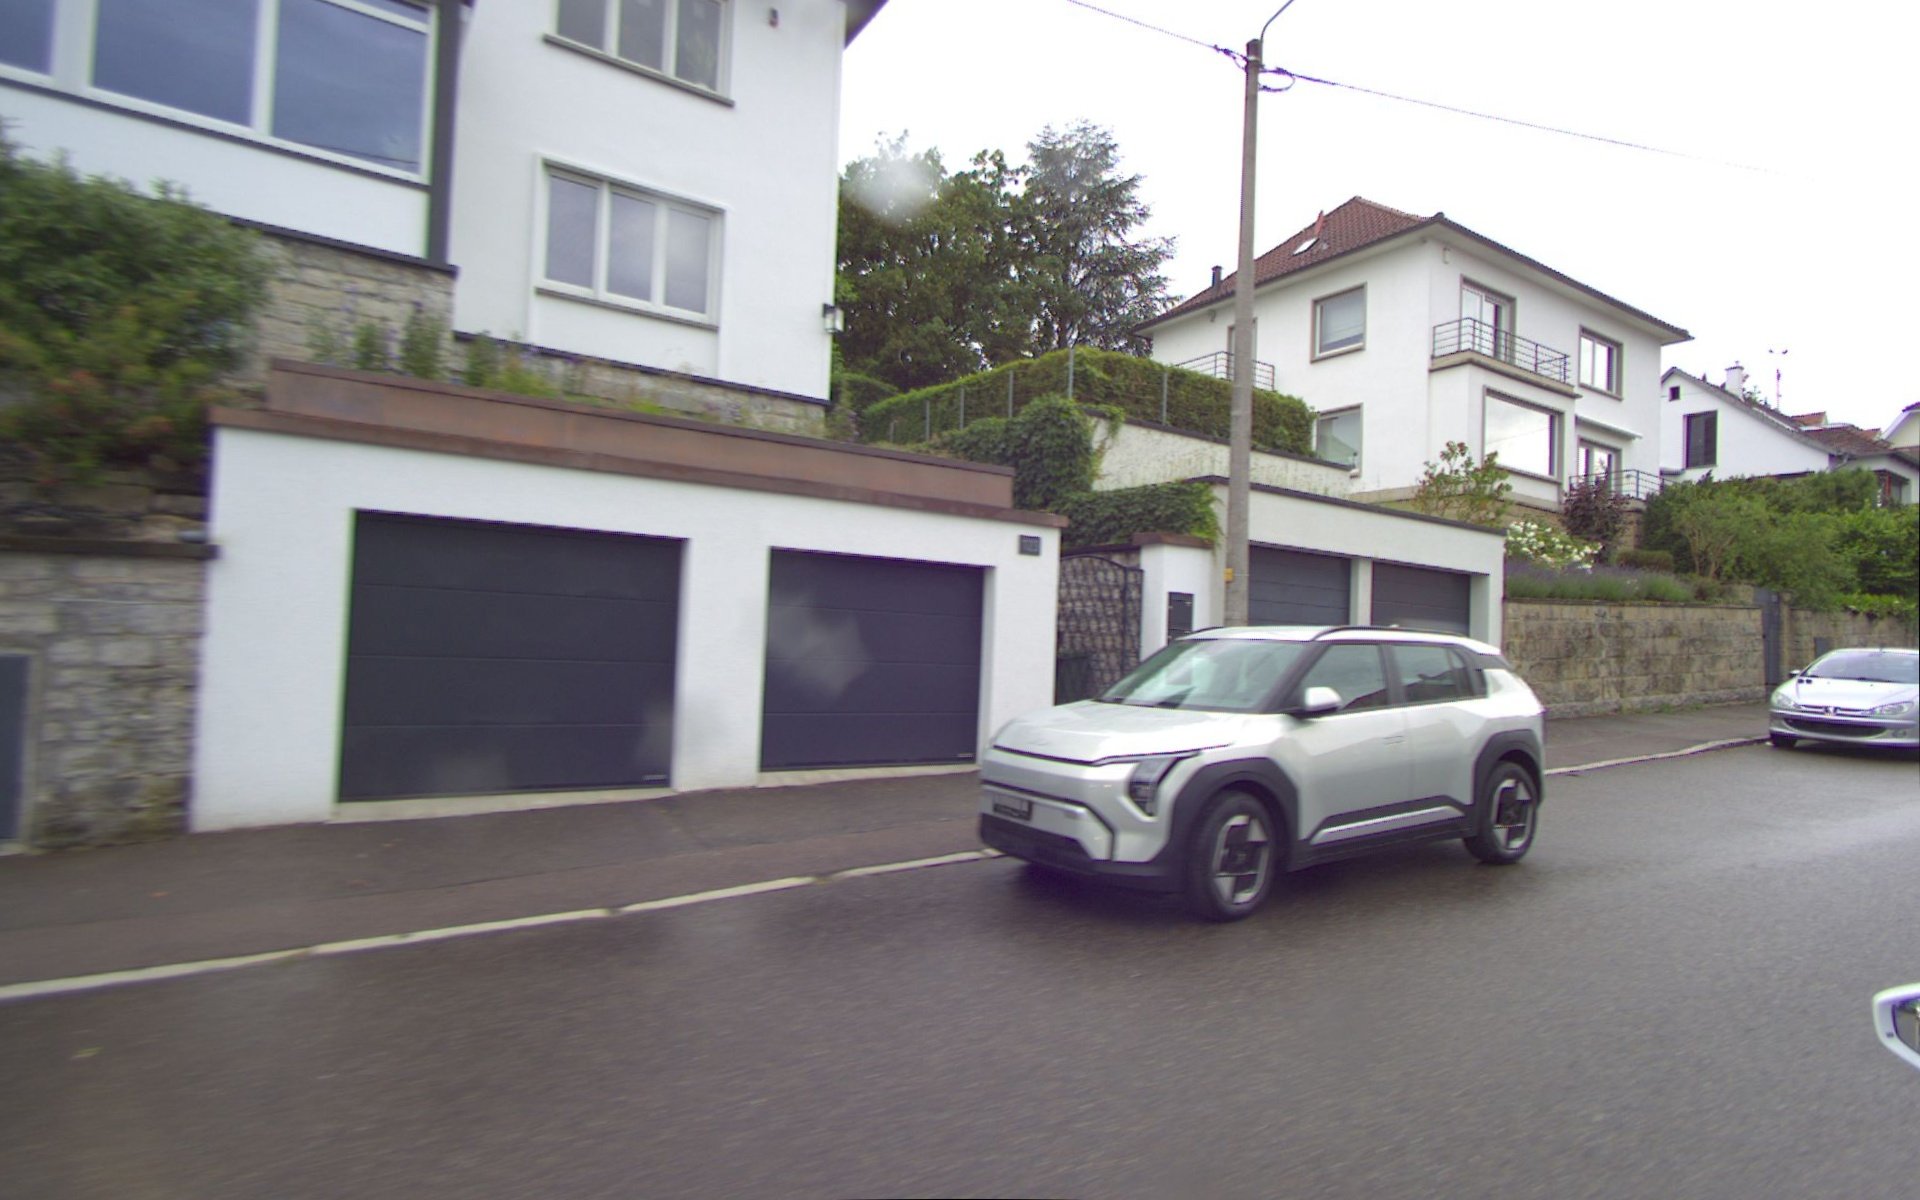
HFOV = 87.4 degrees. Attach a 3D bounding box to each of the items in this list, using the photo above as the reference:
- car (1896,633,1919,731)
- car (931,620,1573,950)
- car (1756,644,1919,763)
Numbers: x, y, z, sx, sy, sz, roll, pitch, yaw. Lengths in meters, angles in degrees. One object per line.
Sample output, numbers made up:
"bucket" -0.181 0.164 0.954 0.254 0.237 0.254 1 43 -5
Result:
"car" 16.747 1.319 16.487 3.129 1.544 1.486 1 -1 -36
"car" 2.071 0.958 6.786 4.191 1.588 1.888 1 -2 -32
"car" 12.692 1.326 13.802 3.798 1.355 1.601 1 -1 -32
